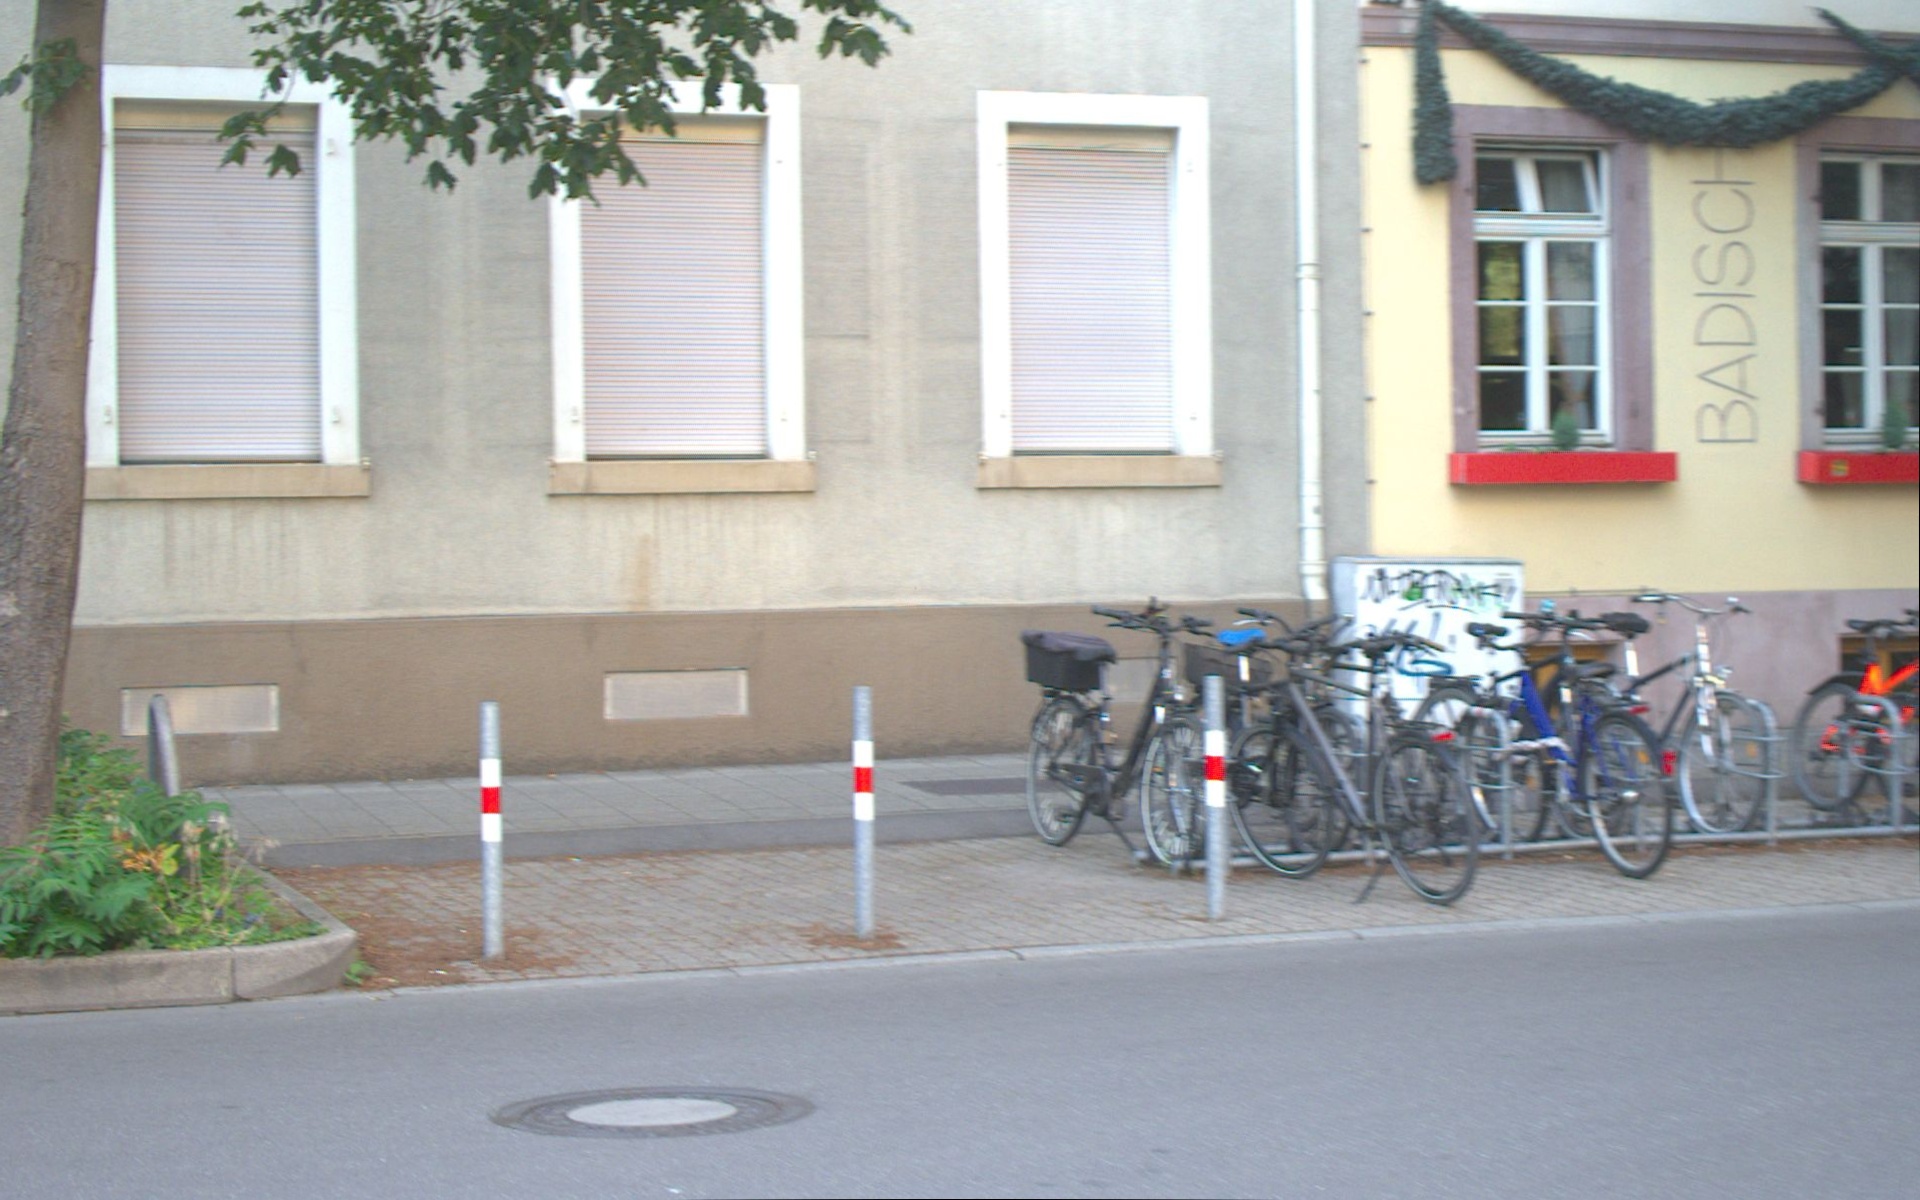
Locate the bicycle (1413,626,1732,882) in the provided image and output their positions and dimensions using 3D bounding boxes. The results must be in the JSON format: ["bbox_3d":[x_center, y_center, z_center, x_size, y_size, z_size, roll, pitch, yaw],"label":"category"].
[{"bbox_3d":[2.683,0.648,15.297,0.420,1.000,2.043,-1,1,-20],"label":"bicycle"}]

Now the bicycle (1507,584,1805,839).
[{"bbox_3d":[3.387,0.509,16.912,0.420,1.141,2.043,-1,1,-20],"label":"bicycle"}]

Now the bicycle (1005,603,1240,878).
[{"bbox_3d":[0.718,0.608,15.892,0.445,1.141,2.043,-1,1,-16],"label":"bicycle"}]

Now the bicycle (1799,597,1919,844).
[{"bbox_3d":[4.734,0.579,16.257,0.420,1.141,2.043,-1,1,-20],"label":"bicycle"}]

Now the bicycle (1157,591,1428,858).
[{"bbox_3d":[1.538,0.550,16.239,0.420,1.141,2.043,-1,1,-20],"label":"bicycle"}]

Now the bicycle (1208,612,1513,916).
[{"bbox_3d":[1.651,0.646,14.519,0.445,1.141,2.043,-1,1,-18],"label":"bicycle"}]

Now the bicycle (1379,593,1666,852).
[{"bbox_3d":[2.697,0.555,16.703,0.420,1.141,2.043,-1,1,-20],"label":"bicycle"}]
